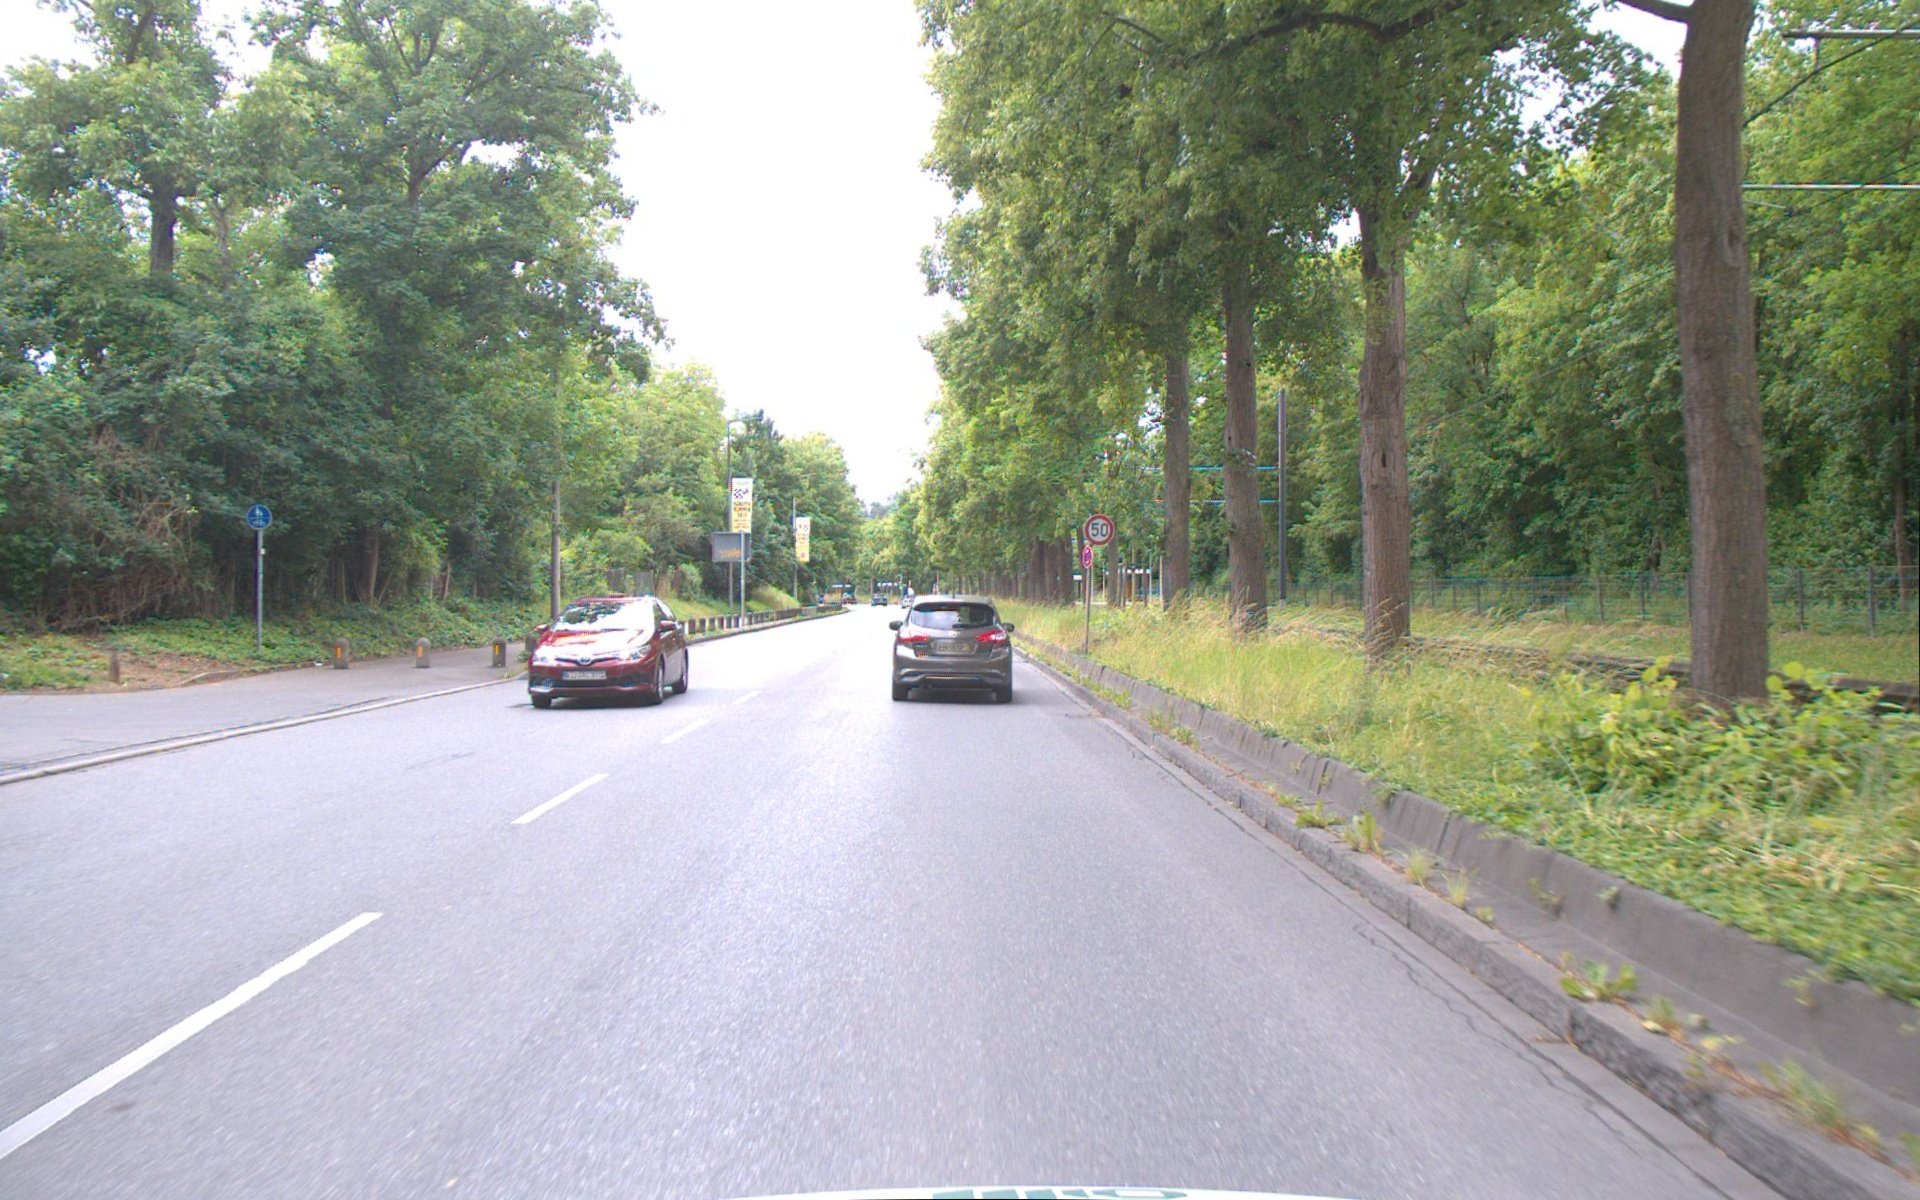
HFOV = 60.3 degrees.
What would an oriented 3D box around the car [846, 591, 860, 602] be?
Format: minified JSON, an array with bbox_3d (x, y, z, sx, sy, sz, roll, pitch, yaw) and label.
[{"bbox_3d":[-15.705,-0.511,243.140,1.535,1.466,3.539,1,0,-14],"label":"car"}]

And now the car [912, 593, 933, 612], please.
[{"bbox_3d":[-3.089,0.218,135.230,1.531,1.466,3.548,1,0,-4],"label":"car"}]

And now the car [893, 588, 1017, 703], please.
[{"bbox_3d":[-0.118,0.624,24.818,1.695,1.564,3.550,1,0,-2],"label":"car"}]

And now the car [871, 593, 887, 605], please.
[{"bbox_3d":[-10.384,-0.166,211.793,1.533,1.466,3.542,1,0,-11],"label":"car"}]

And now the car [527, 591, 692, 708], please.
[{"bbox_3d":[-4.849,0.627,23.386,1.682,1.453,4.193,-1,0,-4],"label":"car"}]

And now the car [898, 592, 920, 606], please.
[{"bbox_3d":[-5.410,-0.099,175.854,1.536,1.466,3.537,1,0,-15],"label":"car"}]
